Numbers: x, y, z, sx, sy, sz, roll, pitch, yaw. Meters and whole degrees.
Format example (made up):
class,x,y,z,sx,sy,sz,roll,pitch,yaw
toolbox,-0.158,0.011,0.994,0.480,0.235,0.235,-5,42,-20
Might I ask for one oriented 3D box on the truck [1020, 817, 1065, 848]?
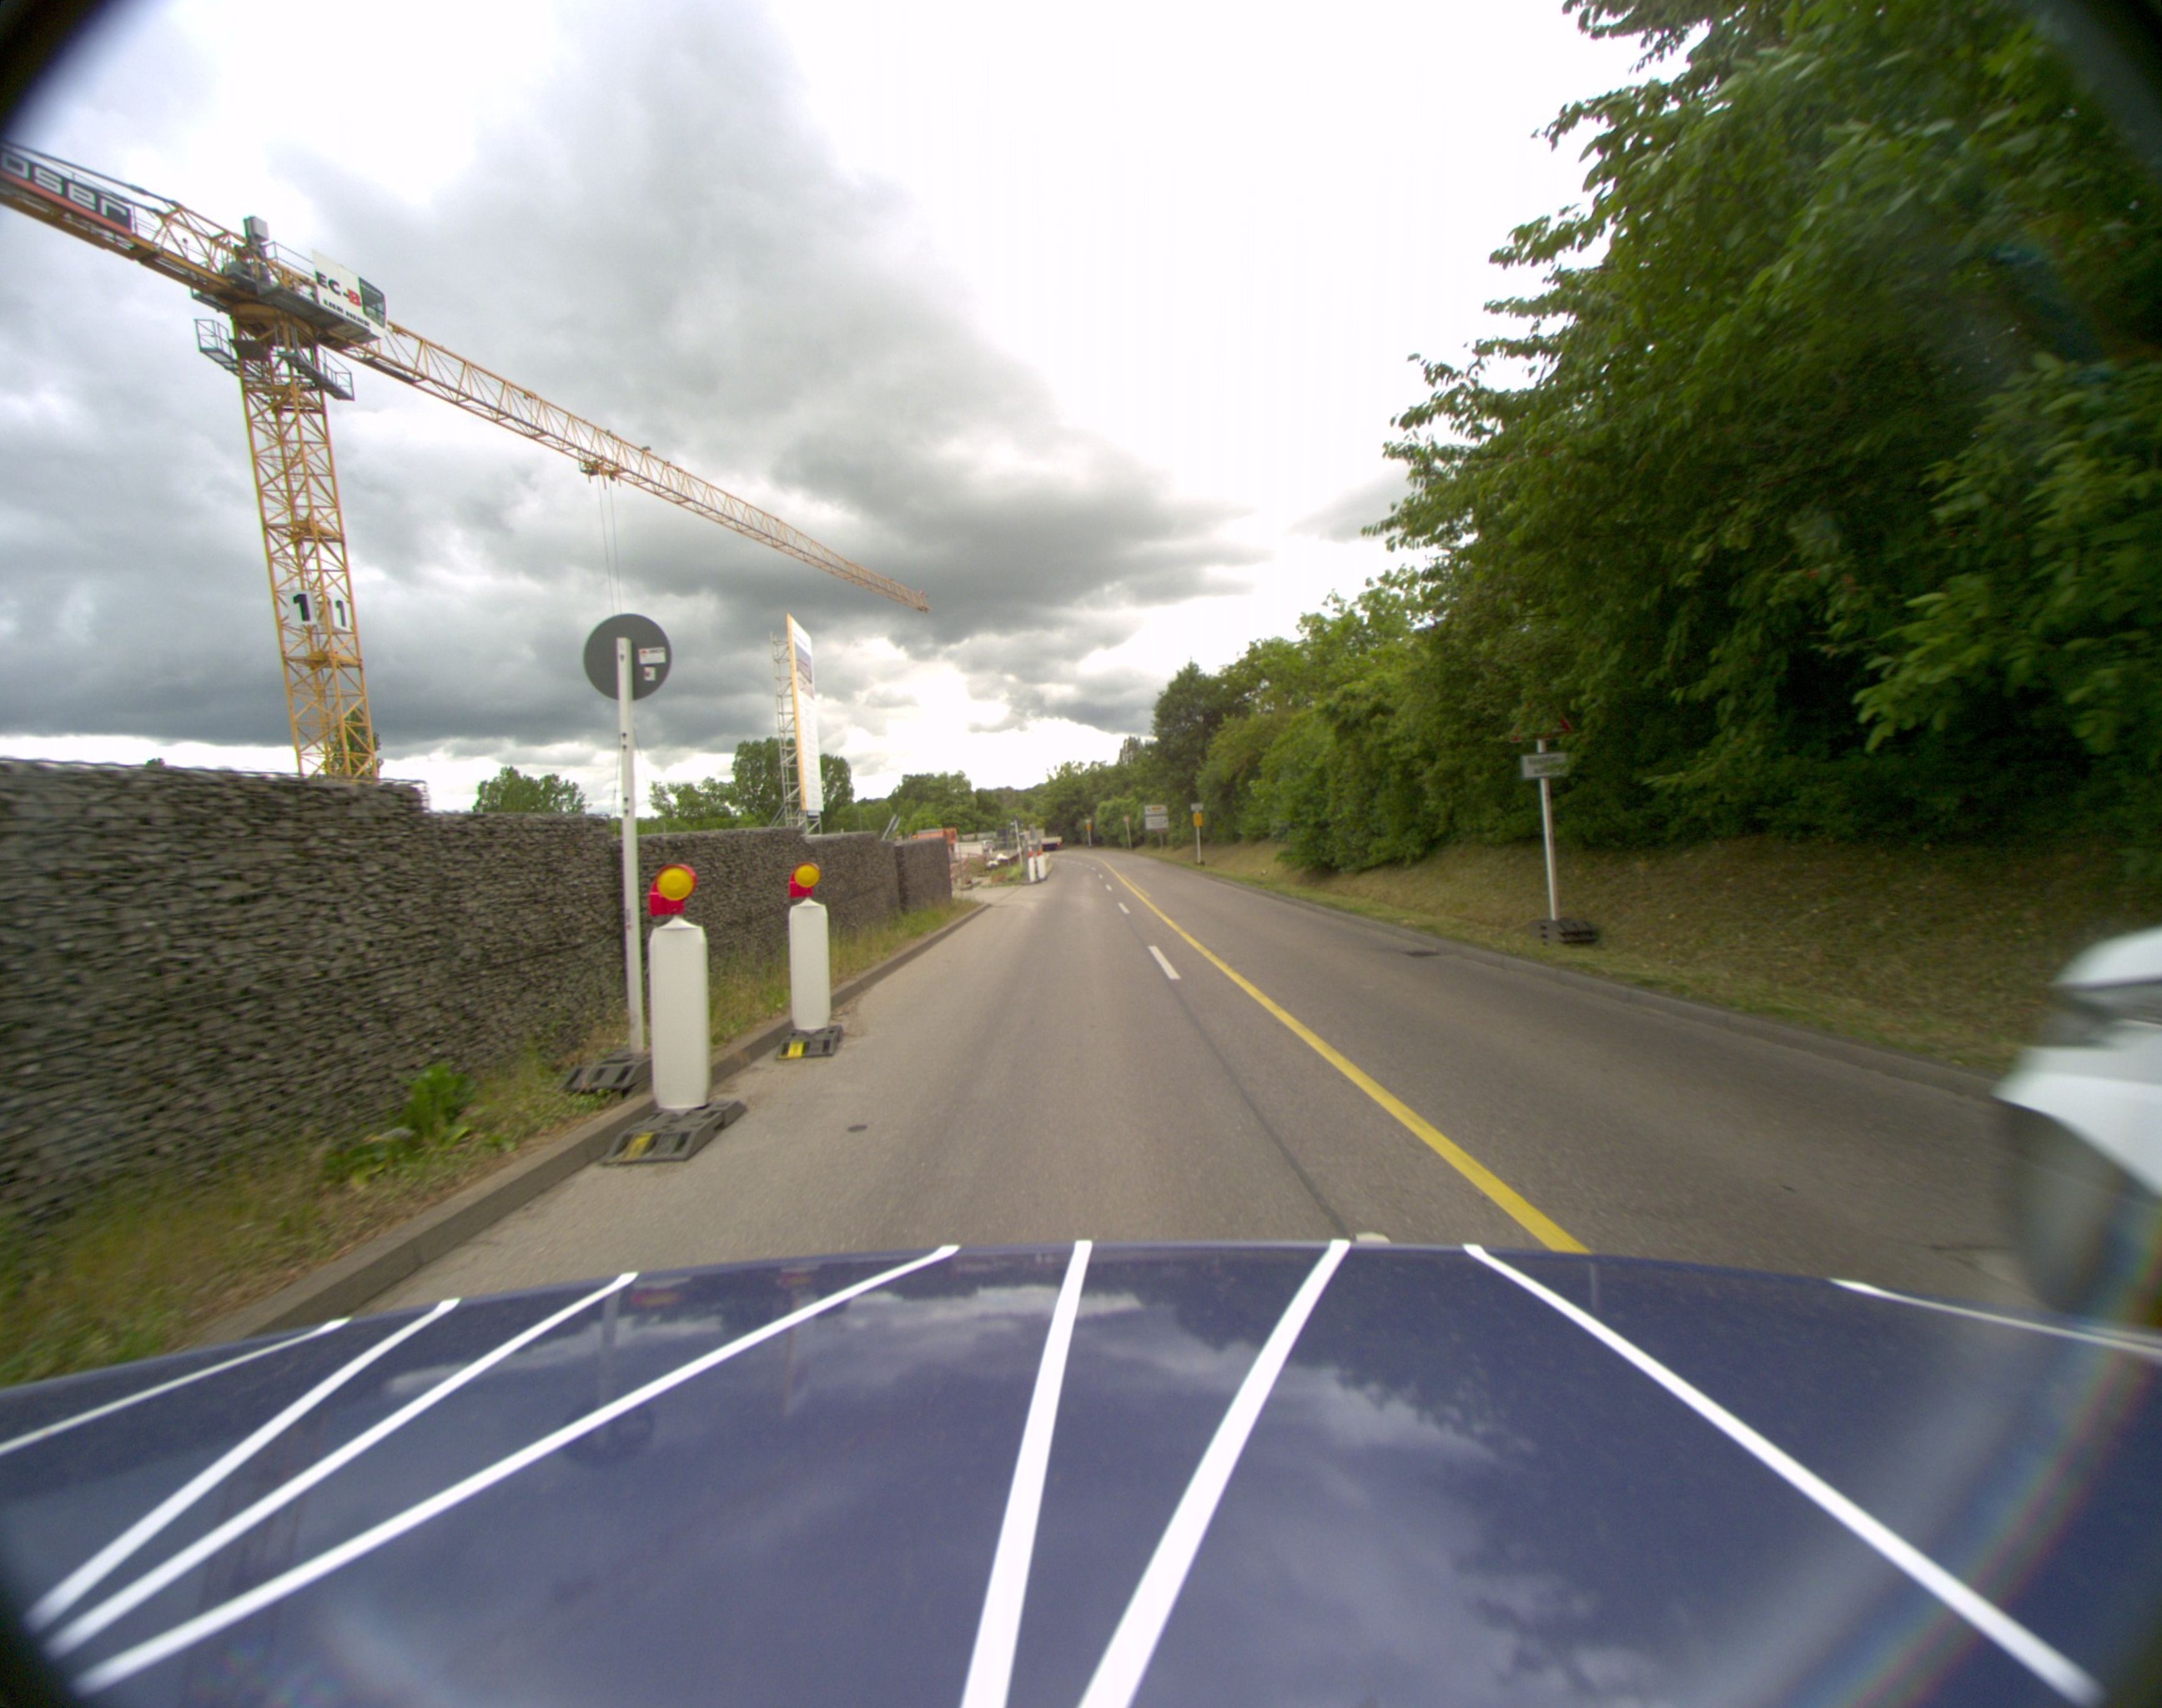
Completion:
class,x,y,z,sx,sy,sz,roll,pitch,yaw
truck,-4.584,-2.492,89.032,2.762,3.240,7.596,-6,3,-21

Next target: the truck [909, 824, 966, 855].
class,x,y,z,sx,sy,sz,roll,pitch,yaw
truck,-21.659,-2.115,114.155,3.046,3.877,9.976,-8,4,-44

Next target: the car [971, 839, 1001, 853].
class,x,y,z,sx,sy,sz,roll,pitch,yaw
car,-12.970,-1.113,103.578,1.897,1.554,4.089,-8,3,-40
